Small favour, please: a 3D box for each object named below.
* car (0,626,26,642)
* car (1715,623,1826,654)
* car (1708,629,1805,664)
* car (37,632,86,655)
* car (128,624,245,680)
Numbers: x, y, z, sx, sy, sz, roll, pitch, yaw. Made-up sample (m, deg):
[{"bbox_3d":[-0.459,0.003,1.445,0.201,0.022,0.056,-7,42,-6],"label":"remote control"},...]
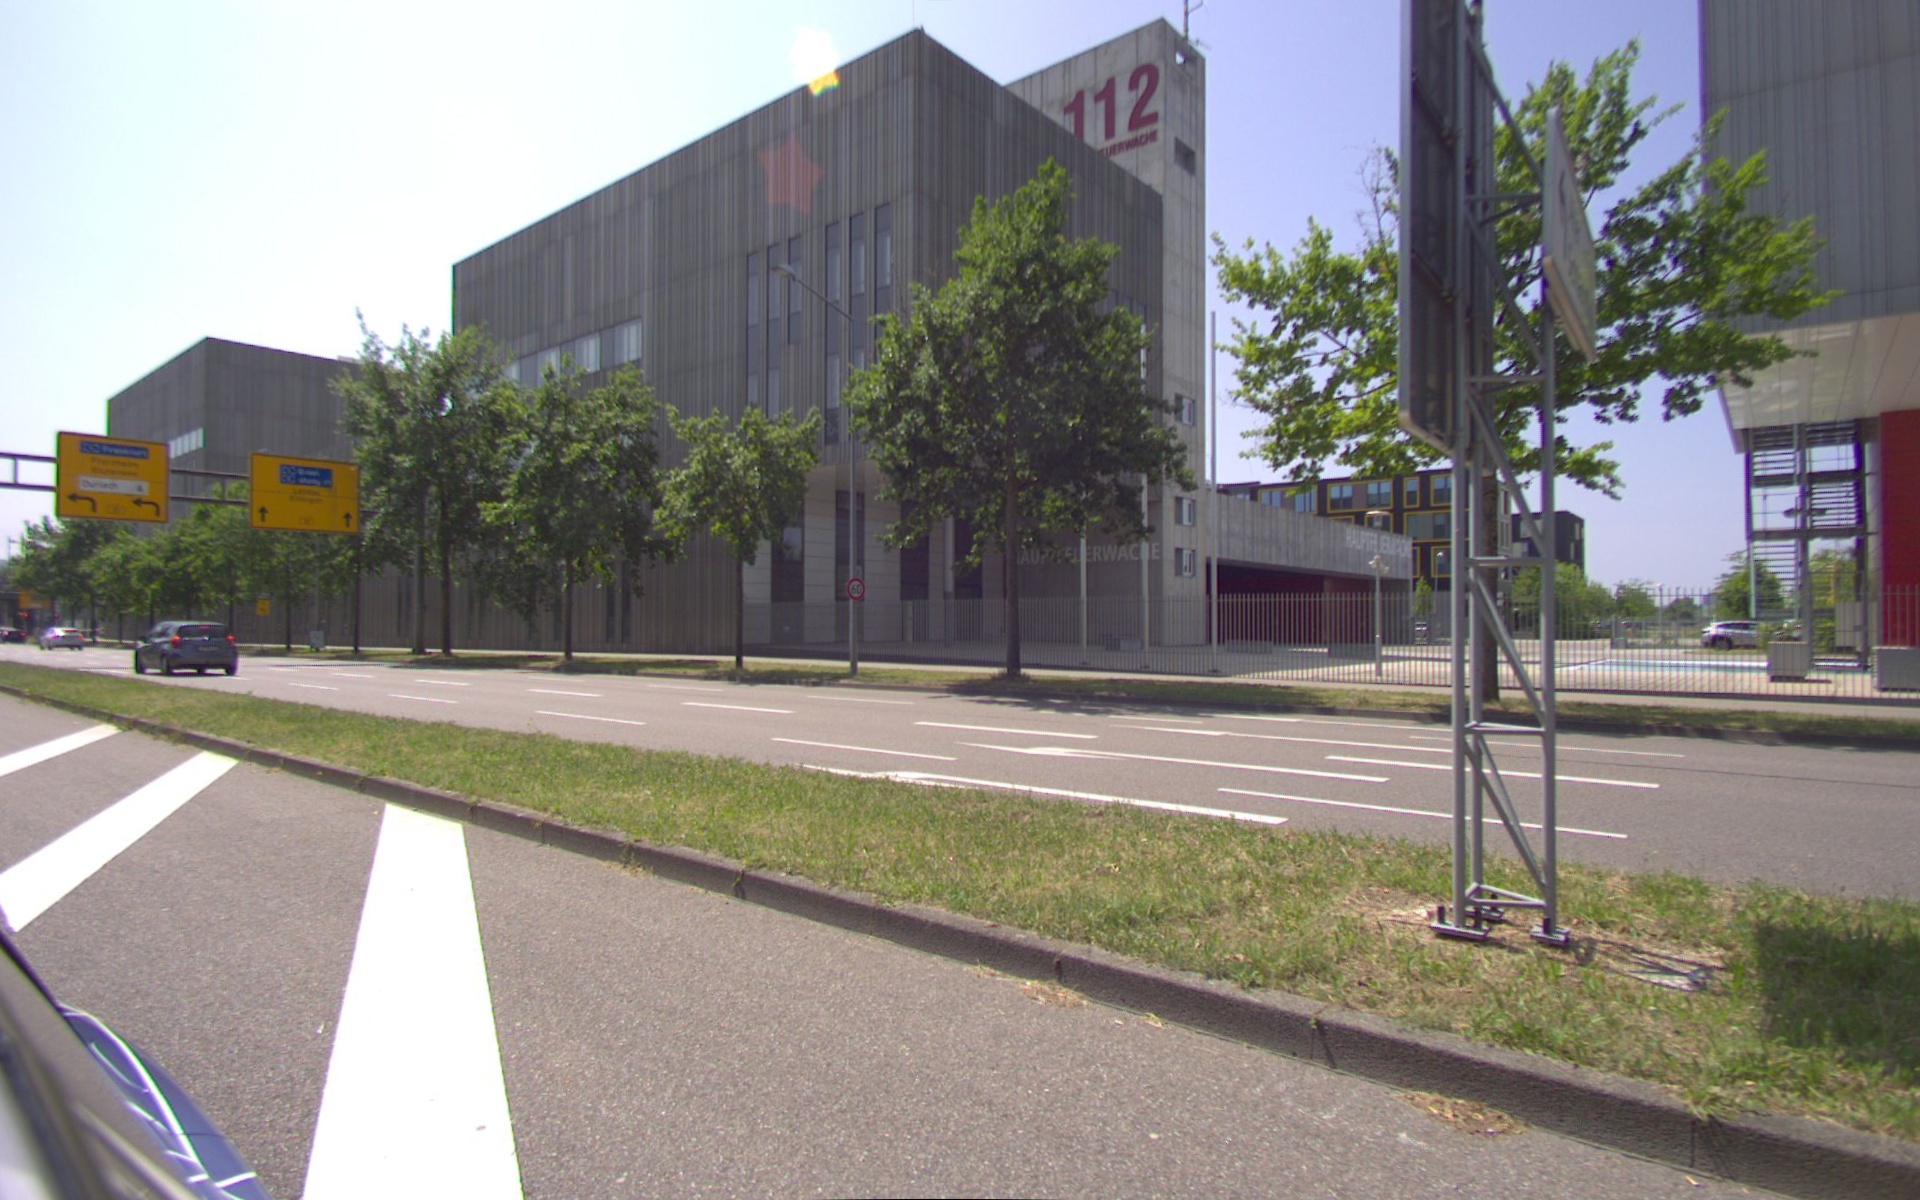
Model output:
[{"bbox_3d":[-91.742,3.288,97.866,4.014,1.467,1.604,-1,-2,41],"label":"car"},{"bbox_3d":[38.325,1.815,47.878,3.998,1.397,1.973,-1,-2,41],"label":"car"},{"bbox_3d":[40.244,2.312,51.154,3.773,1.709,1.639,-1,-2,41],"label":"car"},{"bbox_3d":[-58.551,2.831,65.916,4.356,1.438,1.791,-2,-3,41],"label":"car"},{"bbox_3d":[-22.014,1.450,28.773,3.936,1.483,1.691,-2,-3,38],"label":"car"}]
